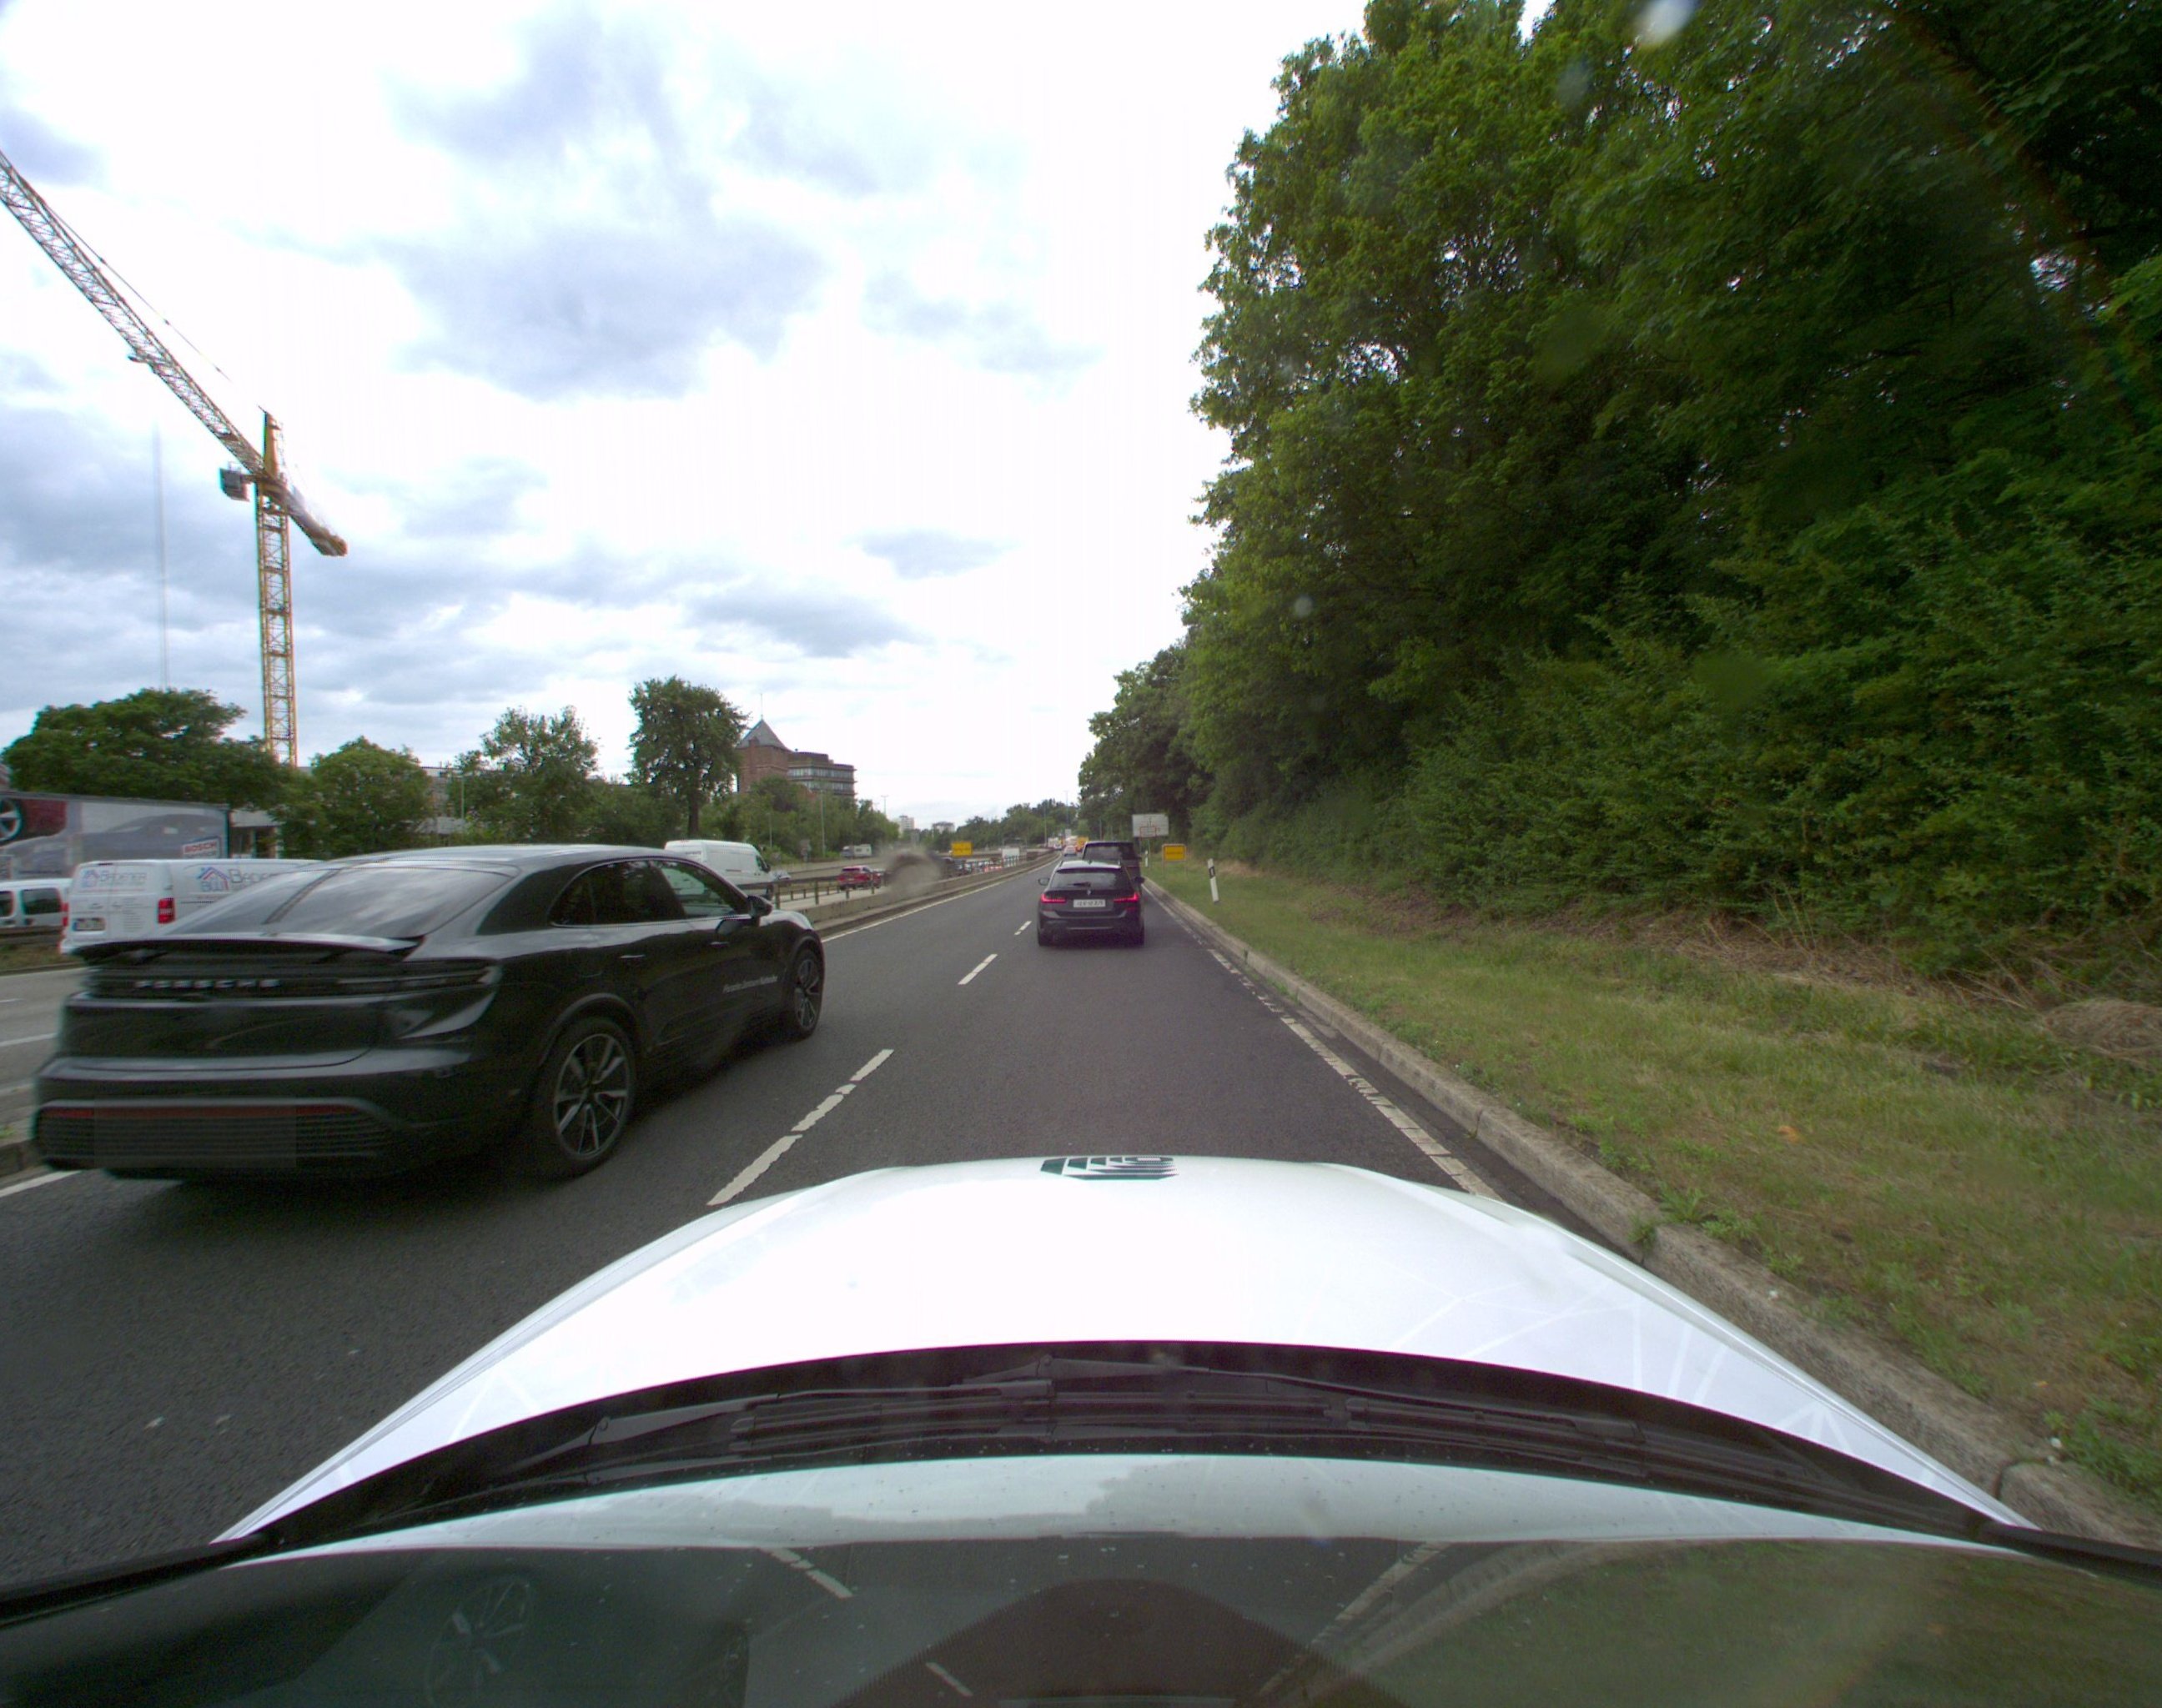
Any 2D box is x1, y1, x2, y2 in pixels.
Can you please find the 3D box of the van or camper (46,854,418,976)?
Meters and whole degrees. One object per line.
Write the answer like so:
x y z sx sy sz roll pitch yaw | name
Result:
-15.790 0.989 15.672 1.913 1.920 4.853 -2 0 2 | van or camper

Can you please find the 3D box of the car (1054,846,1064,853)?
-5.168 -1.096 189.853 1.929 1.596 3.868 -2 0 -7 | car

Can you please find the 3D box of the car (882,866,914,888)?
-14.774 1.816 65.860 1.682 1.608 4.008 0 0 0 | car

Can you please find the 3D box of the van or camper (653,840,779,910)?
-15.276 0.818 34.700 2.042 2.621 6.957 -2 0 1 | van or camper

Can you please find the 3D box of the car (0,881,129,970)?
-23.503 1.560 17.206 1.986 1.765 4.001 -2 0 2 | car

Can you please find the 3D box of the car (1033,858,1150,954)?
0.169 0.833 14.989 1.840 1.467 3.999 -1 0 0 | car

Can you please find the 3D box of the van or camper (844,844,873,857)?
-45.991 -0.675 168.514 5.695 2.637 1.898 0 0 -43 | van or camper

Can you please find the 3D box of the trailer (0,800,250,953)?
-27.792 0.588 18.353 2.581 3.758 14.731 -2 0 2 | trailer

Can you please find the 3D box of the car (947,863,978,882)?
-10.075 1.540 69.493 1.706 1.456 4.669 -1 0 2 | car

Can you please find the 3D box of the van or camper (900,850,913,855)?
-51.212 -0.381 238.868 3.567 1.591 1.746 0 0 -9 | van or camper

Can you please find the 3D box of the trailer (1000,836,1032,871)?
-9.245 -0.011 117.801 3.121 4.725 14.562 -1 0 1 | trailer

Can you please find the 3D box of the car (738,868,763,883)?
-34.810 2.252 85.896 1.329 1.375 3.173 -2 0 0 | car

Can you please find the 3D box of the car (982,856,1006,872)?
-9.599 1.084 89.954 1.939 1.692 4.509 -2 0 2 | car

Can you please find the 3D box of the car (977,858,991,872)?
-14.786 1.612 124.581 1.438 2.044 3.682 -2 0 2 | car

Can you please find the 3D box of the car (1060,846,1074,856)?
-2.074 -0.442 120.104 1.852 1.464 4.885 -1 0 1 | car

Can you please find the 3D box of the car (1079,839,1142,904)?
0.911 0.506 25.768 1.789 1.872 4.001 -1 0 2 | car

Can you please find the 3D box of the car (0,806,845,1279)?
-3.270 0.698 5.326 1.894 1.663 4.754 -2 0 2 | car

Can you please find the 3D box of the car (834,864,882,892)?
-14.882 1.548 54.577 1.884 1.681 4.306 -2 0 0 | car

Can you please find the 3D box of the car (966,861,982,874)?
-14.866 1.849 112.933 1.682 1.632 3.734 0 0 0 | car

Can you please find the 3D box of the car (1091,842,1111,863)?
1.578 -0.092 62.581 1.447 1.540 3.226 -2 0 2 | car

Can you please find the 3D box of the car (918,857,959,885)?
-9.905 1.151 56.852 1.987 1.851 4.811 -1 0 0 | car
